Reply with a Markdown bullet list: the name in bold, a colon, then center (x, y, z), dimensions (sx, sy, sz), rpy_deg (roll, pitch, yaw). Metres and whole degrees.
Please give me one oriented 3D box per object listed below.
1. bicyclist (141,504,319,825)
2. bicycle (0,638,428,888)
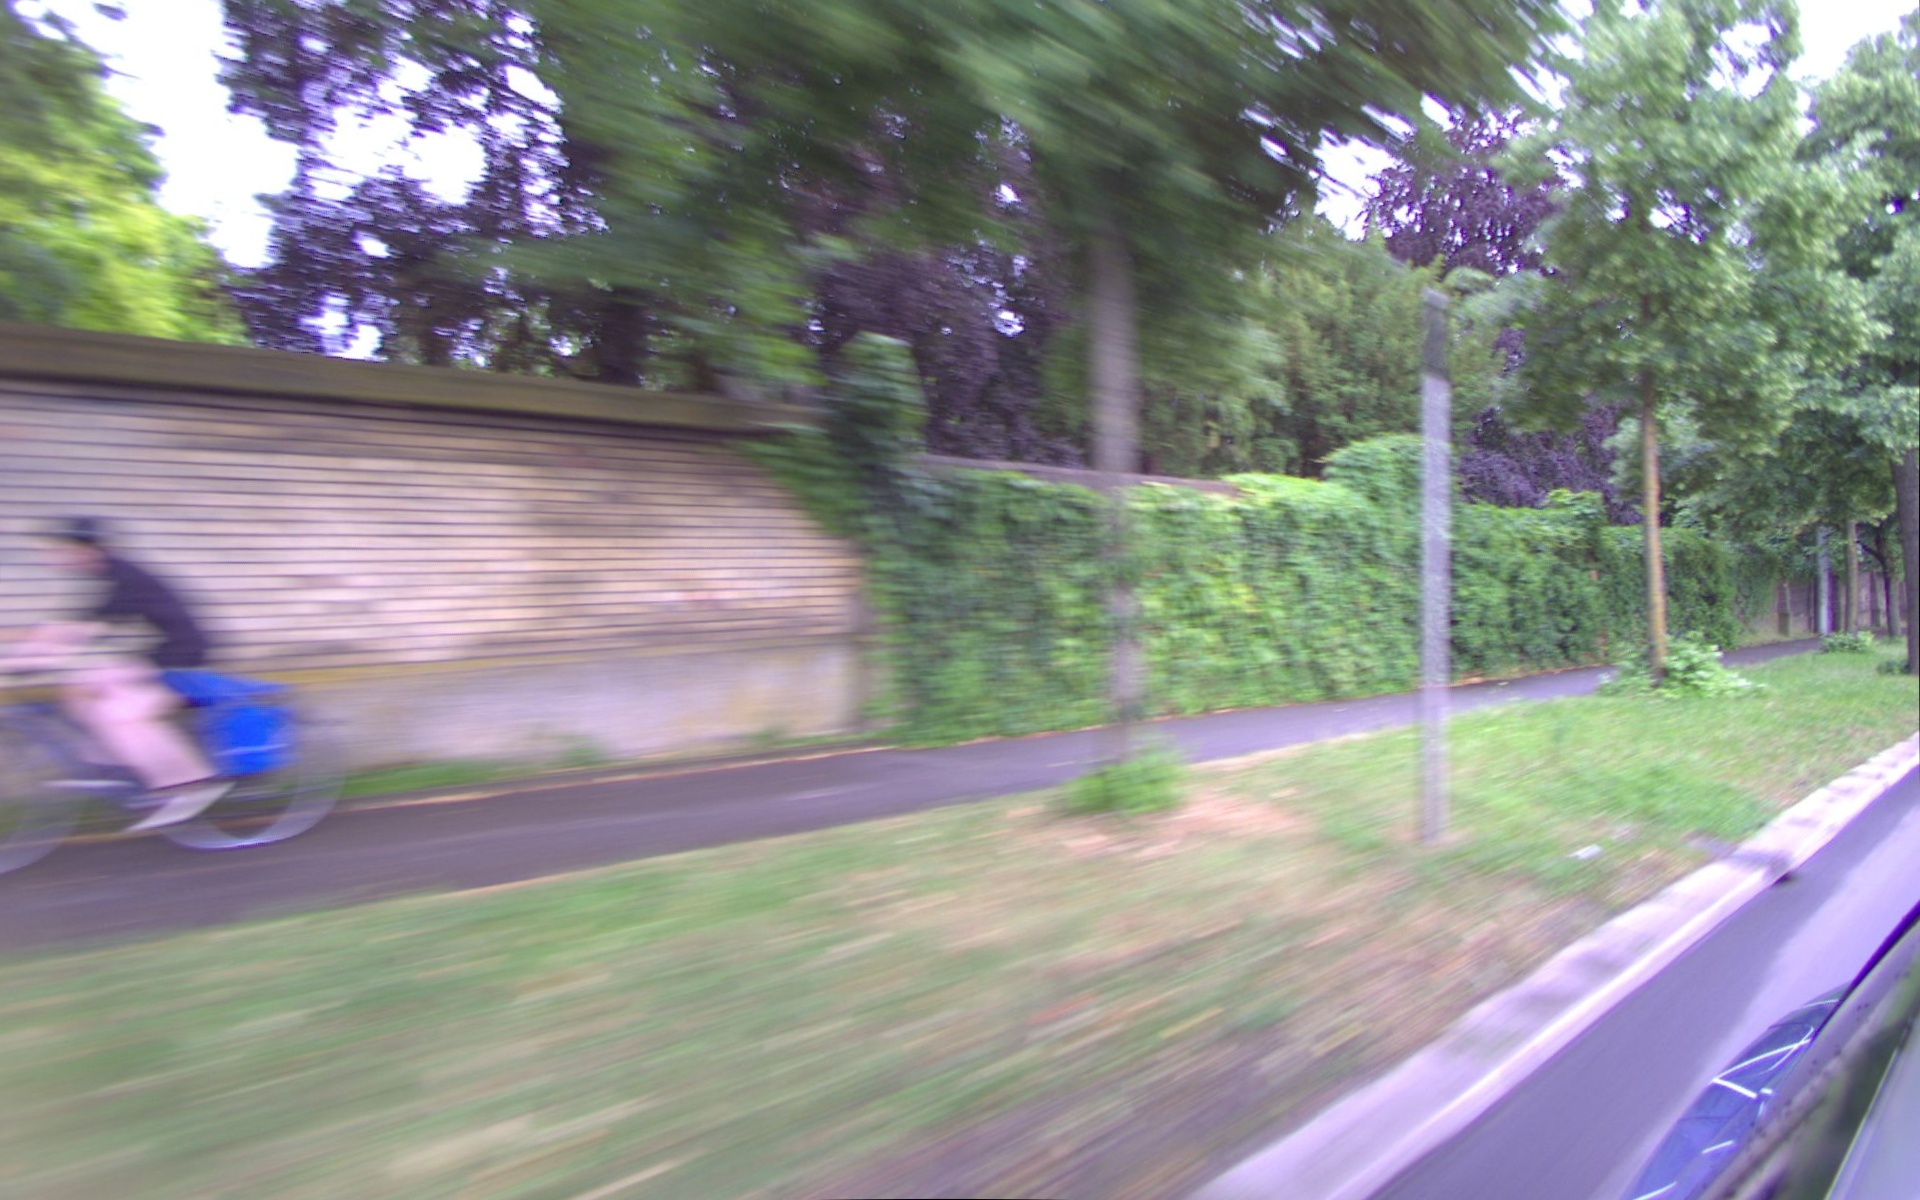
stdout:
- **bicyclist**: center (-3.480, 0.272, 4.841), dimensions (0.654, 1.406, 0.536), rpy_deg (0, 1, -37)
- **bicycle**: center (-3.857, 0.699, 4.584), dimensions (2.502, 0.960, 0.544), rpy_deg (0, 2, -37)
